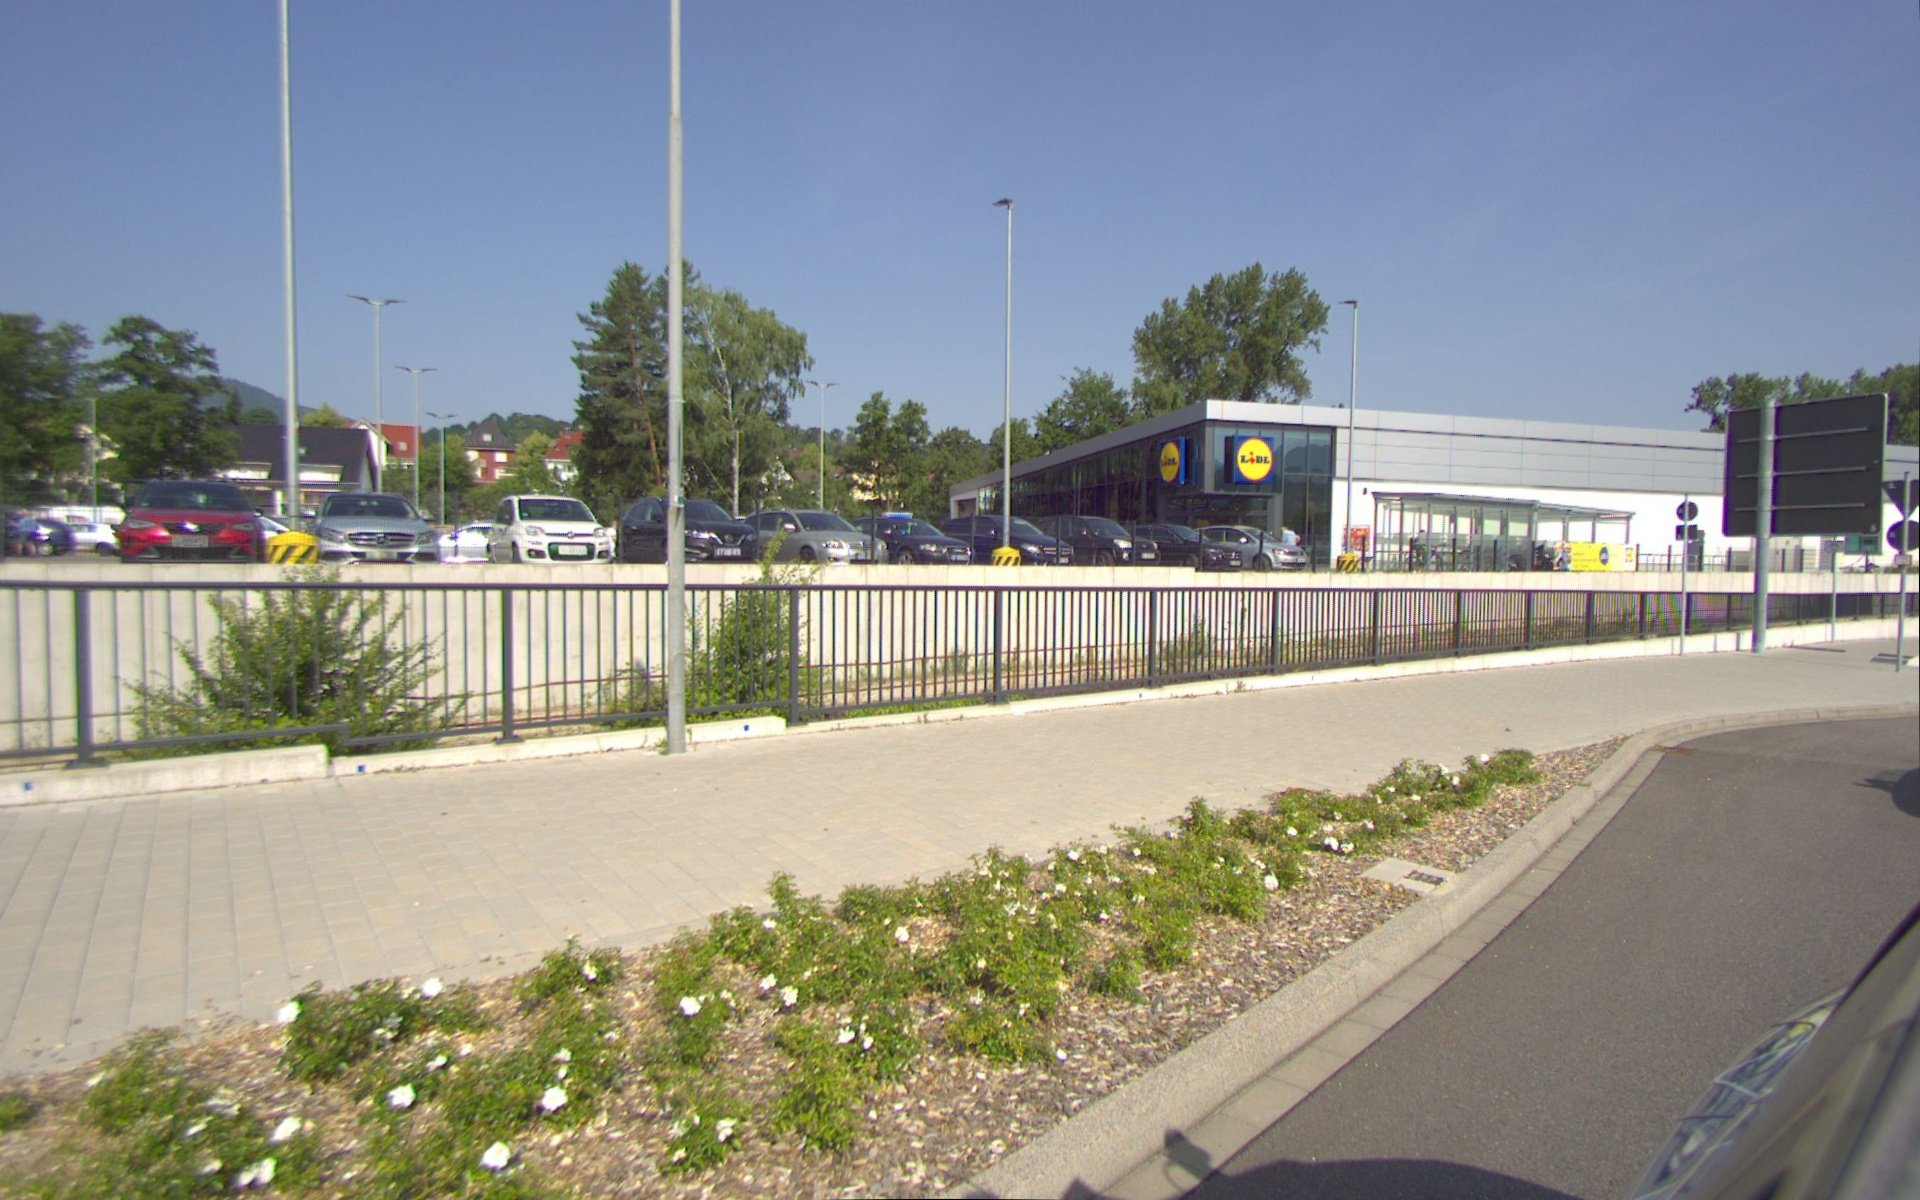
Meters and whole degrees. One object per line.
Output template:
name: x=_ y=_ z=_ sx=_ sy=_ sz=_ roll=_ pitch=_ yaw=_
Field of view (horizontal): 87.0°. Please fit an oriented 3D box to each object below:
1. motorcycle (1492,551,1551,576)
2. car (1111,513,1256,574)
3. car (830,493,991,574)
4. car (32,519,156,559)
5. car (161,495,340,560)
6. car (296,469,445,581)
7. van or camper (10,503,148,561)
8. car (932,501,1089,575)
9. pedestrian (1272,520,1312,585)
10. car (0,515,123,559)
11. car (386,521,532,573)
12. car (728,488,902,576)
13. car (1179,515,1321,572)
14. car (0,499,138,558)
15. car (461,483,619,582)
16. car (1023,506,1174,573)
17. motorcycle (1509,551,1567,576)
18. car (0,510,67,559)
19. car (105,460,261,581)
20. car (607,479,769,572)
motorcycle: x=20.590 y=-1.329 z=37.134 sx=1.865 sy=0.874 sz=0.619 roll=0 pitch=0 yaw=34
car: x=6.502 y=-1.594 z=29.738 sx=1.673 sy=1.594 sz=3.995 roll=0 pitch=0 yaw=-39
car: x=-1.230 y=-1.449 z=23.305 sx=1.673 sy=1.594 sz=3.995 roll=0 pitch=0 yaw=-39
car: x=-37.421 y=-2.627 z=43.838 sx=3.708 sy=1.594 sz=1.766 roll=0 pitch=0 yaw=-22
car: x=-20.281 y=-2.034 z=29.143 sx=3.917 sy=1.638 sz=2.003 roll=0 pitch=0 yaw=-26
car: x=-9.960 y=-1.138 z=16.973 sx=1.746 sy=1.594 sz=4.020 roll=0 pitch=0 yaw=-36
van or camper: x=-47.623 y=-3.626 z=54.880 sx=5.176 sy=2.883 sz=2.299 roll=0 pitch=0 yaw=-23
car: x=1.177 y=-1.475 z=25.234 sx=1.673 sy=1.594 sz=3.995 roll=0 pitch=0 yaw=-39
pedestrian: x=10.608 y=-1.492 z=32.325 sx=0.845 sy=2.039 sz=0.834 roll=0 pitch=0 yaw=-24
car: x=-35.206 y=-2.430 z=39.352 sx=3.708 sy=1.594 sz=1.766 roll=0 pitch=0 yaw=-22
car: x=-15.414 y=-1.589 z=31.286 sx=3.918 sy=1.476 sz=1.803 roll=0 pitch=0 yaw=-26
car: x=-3.195 y=-1.355 z=21.608 sx=1.673 sy=1.594 sz=4.411 roll=0 pitch=0 yaw=-39
car: x=9.072 y=-1.719 z=31.936 sx=1.673 sy=1.594 sz=4.127 roll=0 pitch=0 yaw=-39
car: x=-42.500 y=-3.366 z=48.406 sx=4.550 sy=2.650 sz=2.004 roll=0 pitch=0 yaw=-23
car: x=-7.919 y=-1.162 z=18.893 sx=1.673 sy=1.594 sz=3.995 roll=0 pitch=0 yaw=-39
car: x=3.663 y=-1.563 z=27.393 sx=1.673 sy=1.594 sz=3.995 roll=0 pitch=0 yaw=-39
motorcycle: x=21.520 y=-1.338 z=37.697 sx=1.865 sy=0.874 sz=0.619 roll=0 pitch=0 yaw=34
car: x=-33.495 y=-2.245 z=34.853 sx=3.708 sy=1.594 sz=1.766 roll=0 pitch=0 yaw=-22
car: x=-12.113 y=-1.119 z=15.902 sx=1.746 sy=1.594 sz=4.020 roll=0 pitch=0 yaw=-36
car: x=-5.566 y=-1.406 z=20.409 sx=1.673 sy=1.594 sz=3.995 roll=0 pitch=0 yaw=-39
